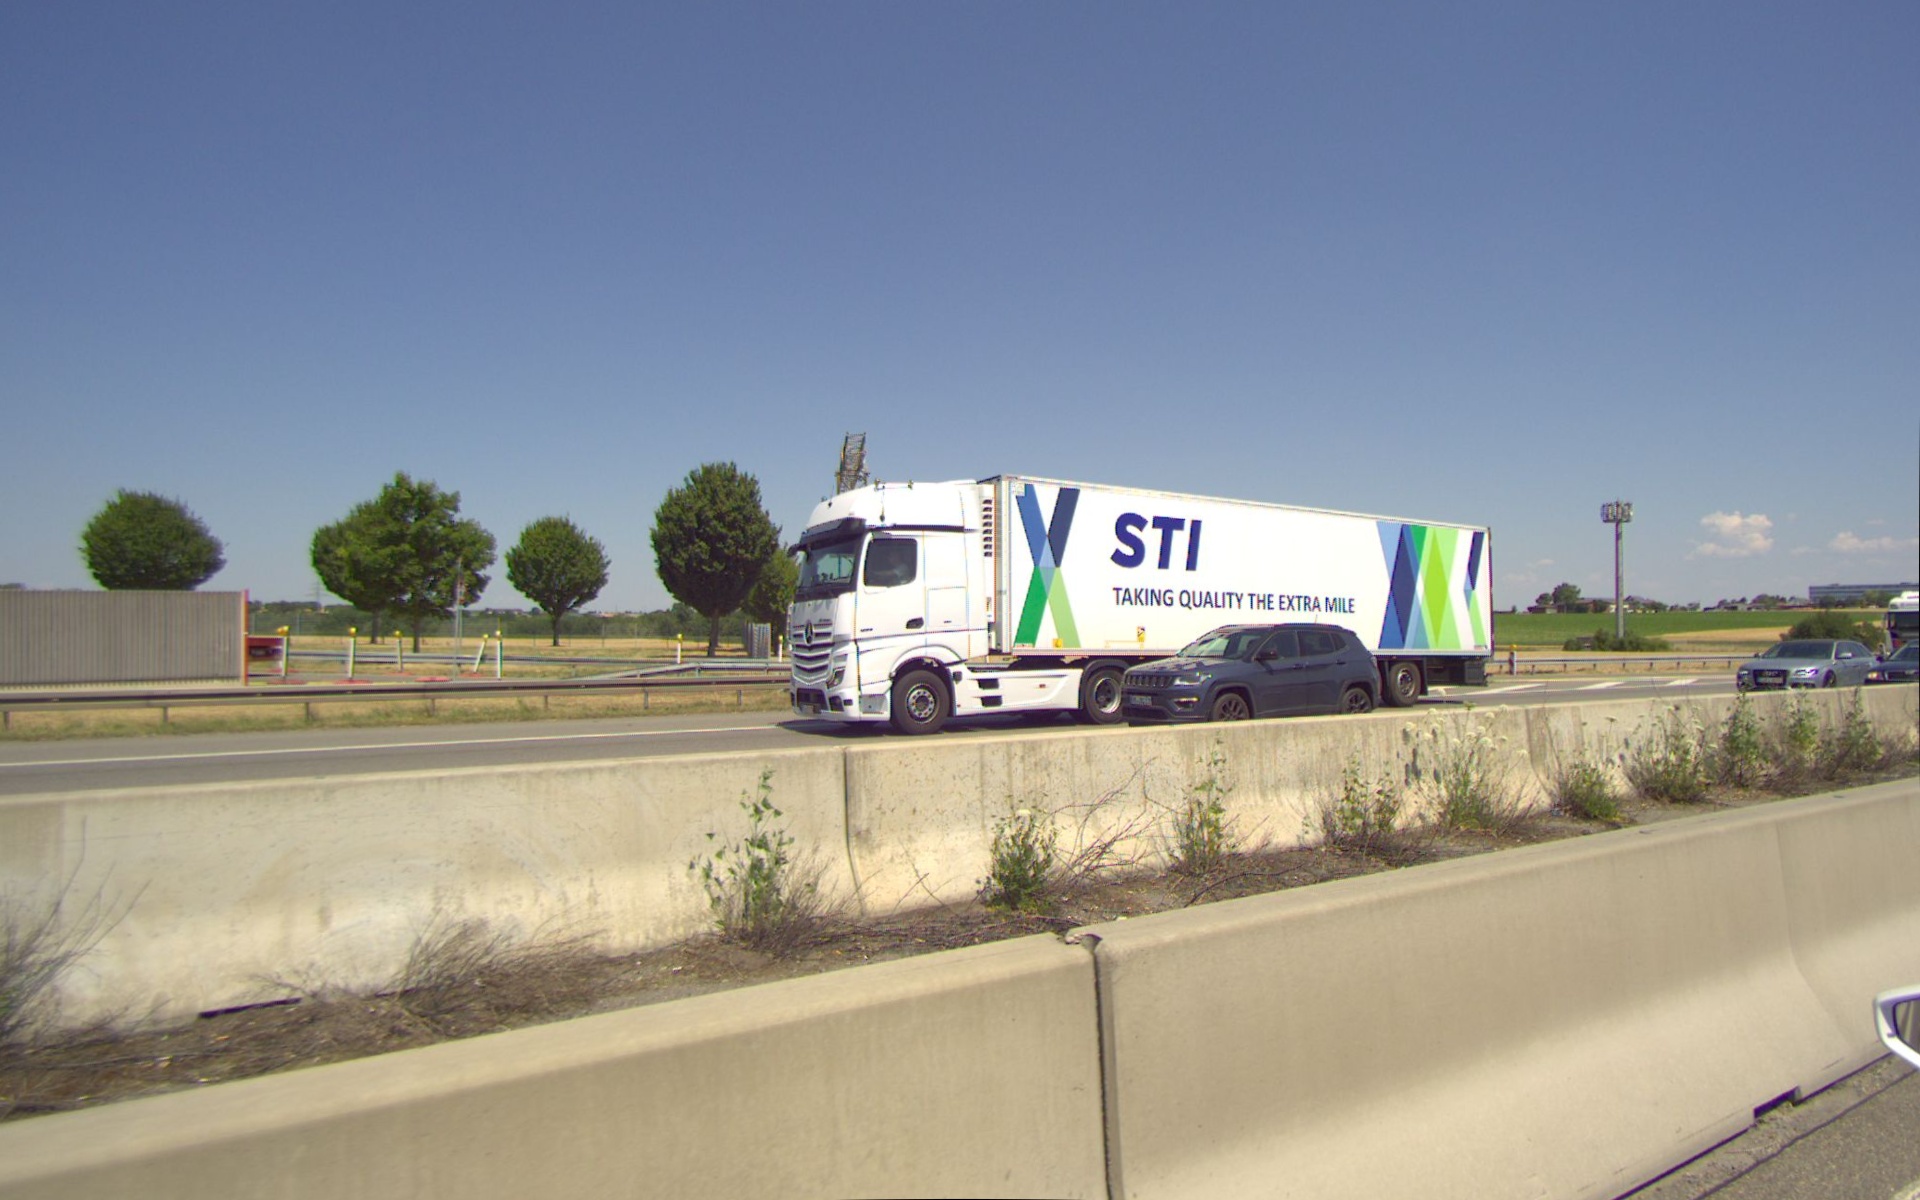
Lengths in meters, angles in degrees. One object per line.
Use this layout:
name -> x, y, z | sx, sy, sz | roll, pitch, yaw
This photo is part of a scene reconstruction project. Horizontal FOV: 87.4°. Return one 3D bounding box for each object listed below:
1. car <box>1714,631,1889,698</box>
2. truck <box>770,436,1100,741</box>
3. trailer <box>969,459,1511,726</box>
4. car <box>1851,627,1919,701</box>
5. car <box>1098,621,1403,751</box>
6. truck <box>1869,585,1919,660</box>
car -> 21.107, 1.556, 25.141 | 4.863, 1.502, 1.838 | 1, -1, -30
truck -> -0.438, -0.073, 17.067 | 4.845, 4.432, 2.858 | 1, -3, -30
trailer -> 6.415, 0.050, 21.139 | 12.841, 4.432, 2.879 | 1, -3, -31
car -> 19.611, 1.240, 19.959 | 4.216, 1.369, 1.648 | 1, -1, -30
car -> 4.389, 1.164, 14.918 | 4.610, 1.673, 1.648 | 1, -1, -30
truck -> 54.601, 1.273, 55.073 | 13.127, 3.825, 2.887 | 1, -4, -29
